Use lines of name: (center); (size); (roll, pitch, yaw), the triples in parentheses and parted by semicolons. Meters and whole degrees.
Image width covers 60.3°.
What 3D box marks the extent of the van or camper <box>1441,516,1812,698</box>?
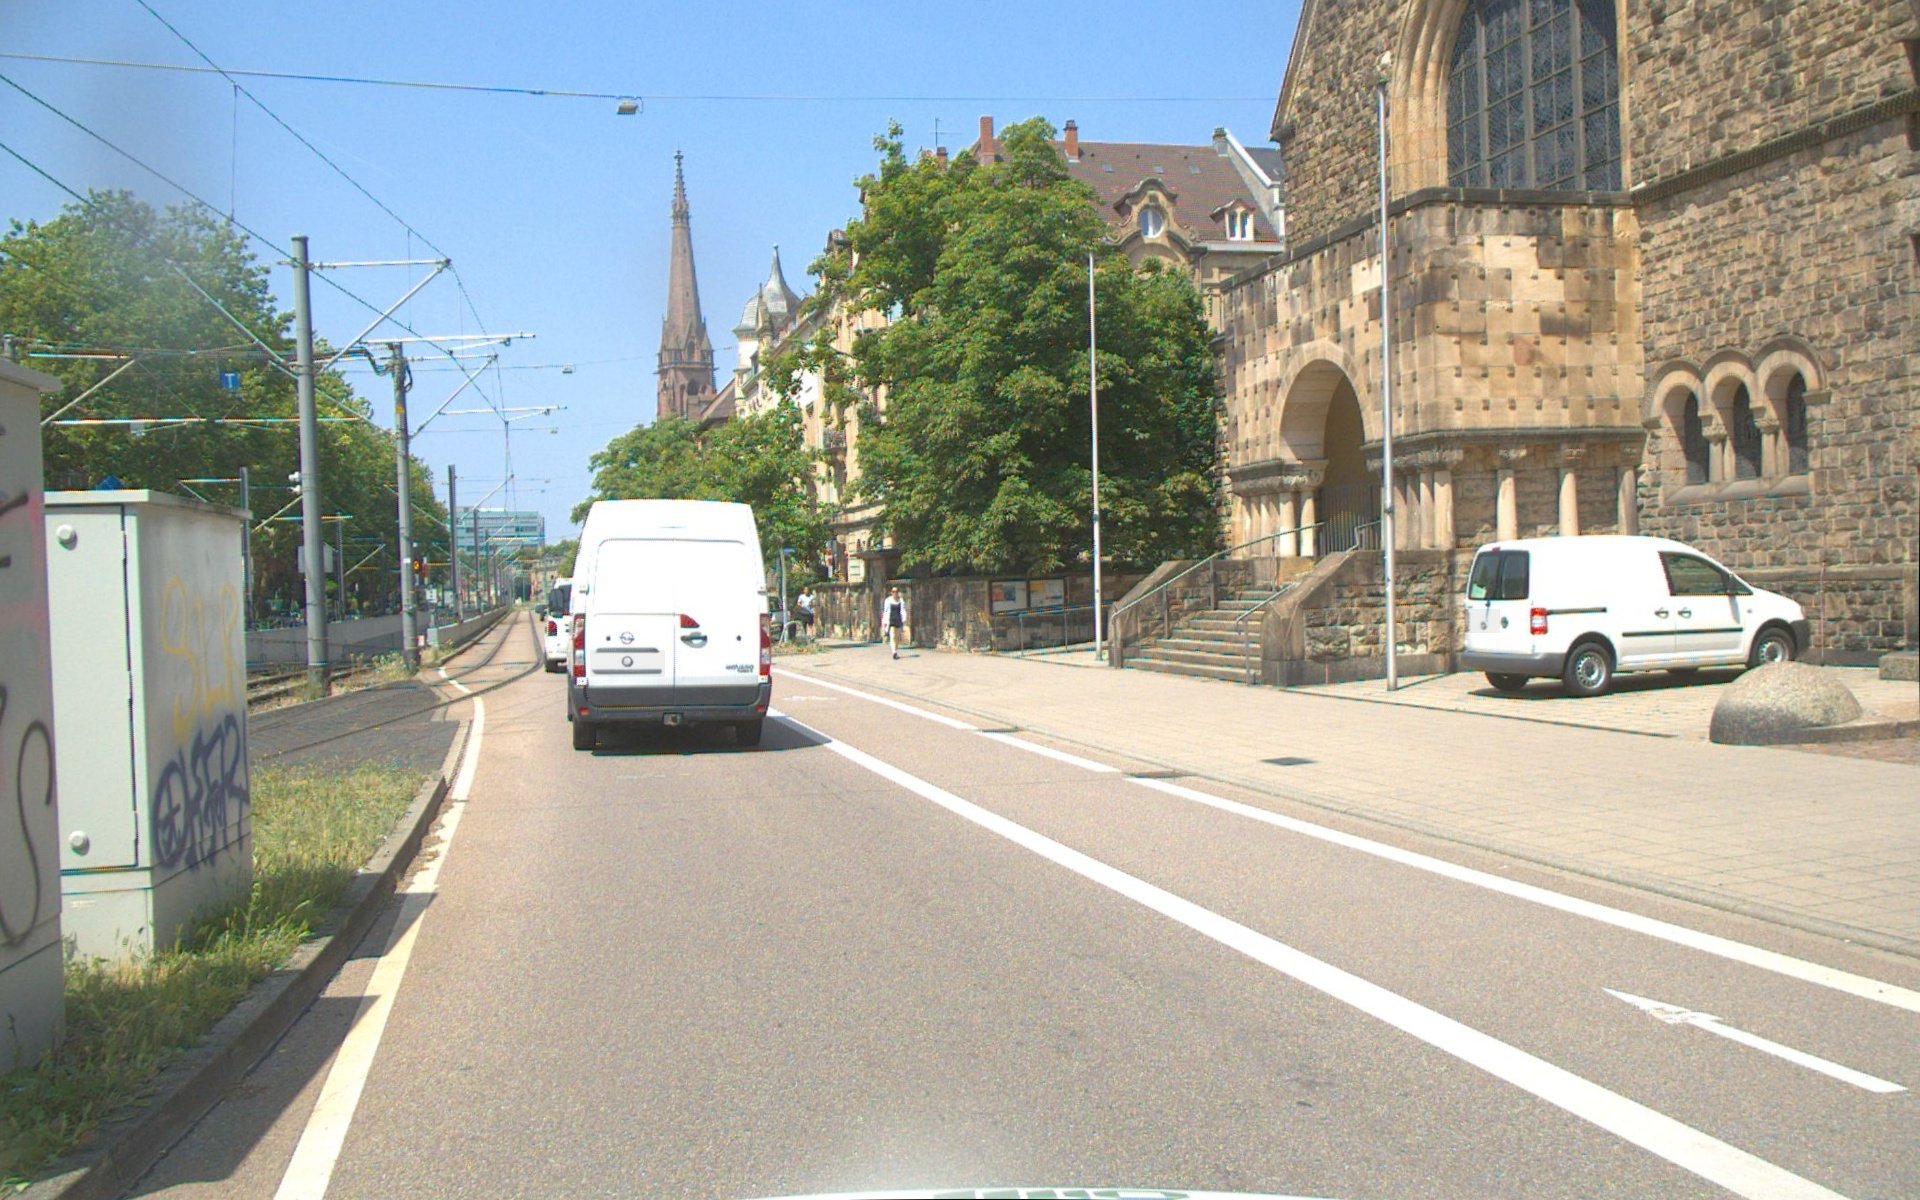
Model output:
van or camper: (8.135, 0.035, 20.260); (3.924, 1.856, 1.795); (-4, 2, -17)

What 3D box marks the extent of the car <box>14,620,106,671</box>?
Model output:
car: (-33.746, 1.664, 62.127); (1.816, 1.653, 4.585); (-4, 1, -14)

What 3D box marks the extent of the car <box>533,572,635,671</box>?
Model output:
car: (-8.306, 0.435, 36.297); (1.886, 1.978, 4.245); (-2, 0, -16)

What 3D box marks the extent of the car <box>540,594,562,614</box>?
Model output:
car: (-33.453, 0.349, 135.227); (1.721, 1.566, 3.743); (-2, 0, -15)

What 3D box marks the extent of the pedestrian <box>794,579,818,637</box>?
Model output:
pedestrian: (-4.793, 0.246, 51.360); (0.610, 1.785, 0.676); (-2, 0, -13)

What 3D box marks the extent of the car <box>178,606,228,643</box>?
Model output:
car: (-41.710, 1.313, 91.236); (1.963, 1.937, 4.693); (-2, 0, -18)

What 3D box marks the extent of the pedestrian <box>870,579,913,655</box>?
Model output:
pedestrian: (-1.570, 0.379, 37.620); (0.780, 1.679, 0.963); (-2, 0, -13)

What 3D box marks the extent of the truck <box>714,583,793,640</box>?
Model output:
truck: (-6.192, 0.320, 49.265); (1.760, 1.552, 4.448); (-2, 1, -14)

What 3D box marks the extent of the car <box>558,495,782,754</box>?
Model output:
car: (-3.432, 0.214, 18.736); (2.082, 2.502, 5.035); (-1, 0, -14)
